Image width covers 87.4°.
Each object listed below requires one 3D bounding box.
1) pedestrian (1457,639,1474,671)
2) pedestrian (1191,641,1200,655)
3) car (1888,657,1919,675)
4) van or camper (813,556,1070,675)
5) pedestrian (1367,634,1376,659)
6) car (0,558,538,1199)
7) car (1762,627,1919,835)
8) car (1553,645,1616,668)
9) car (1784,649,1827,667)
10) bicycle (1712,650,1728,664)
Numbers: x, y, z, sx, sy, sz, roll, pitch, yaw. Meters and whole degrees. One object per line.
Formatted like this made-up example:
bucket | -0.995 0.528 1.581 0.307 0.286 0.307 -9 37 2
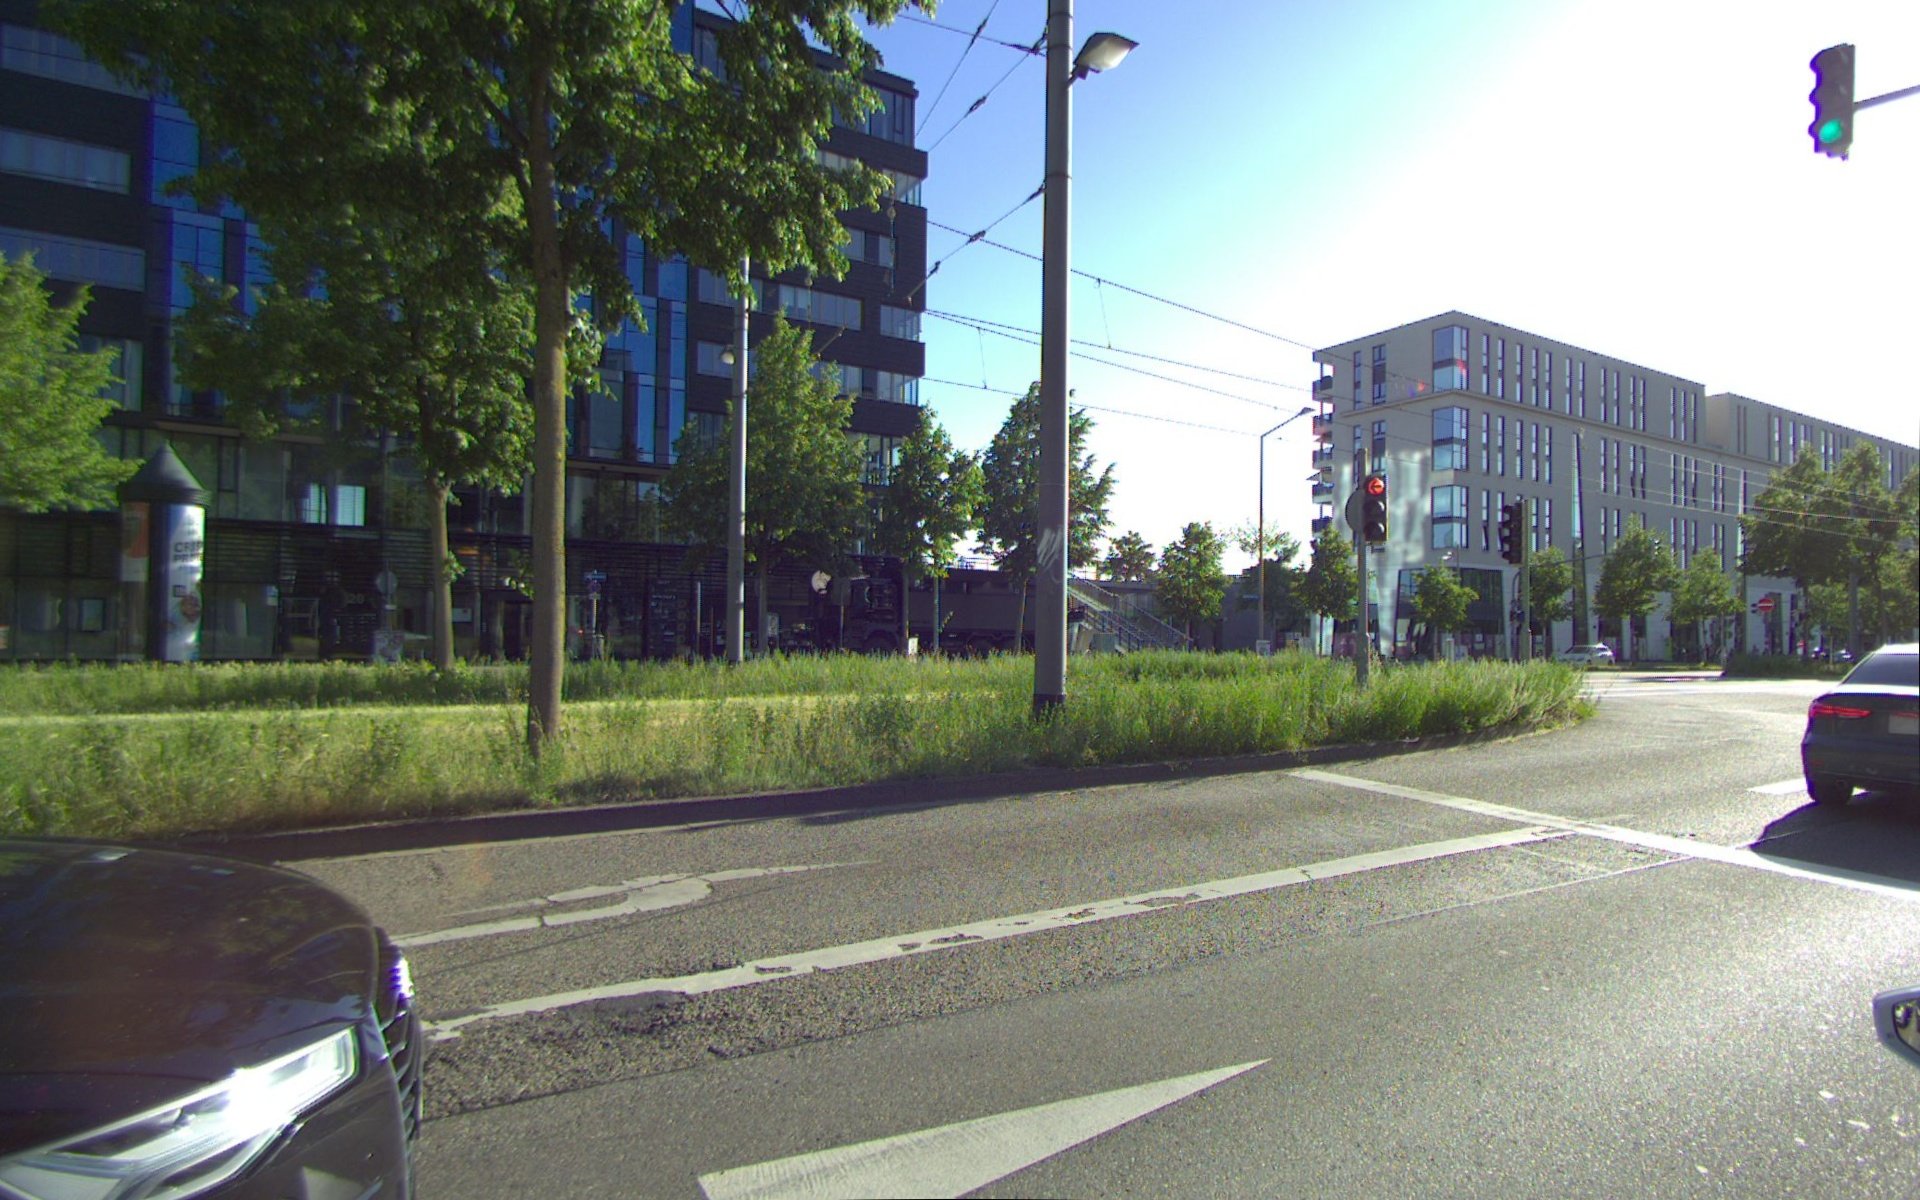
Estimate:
pedestrian | 30.295 3.298 60.213 0.792 1.836 0.575 2 -1 -34
pedestrian | 19.282 3.905 82.213 0.593 1.140 0.437 2 -1 -28
car | 87.988 6.135 93.214 3.763 1.548 1.767 2 -2 -31
van or camper | -0.541 0.732 39.597 10.111 4.247 2.740 2 -2 -31
pedestrian | 30.506 3.448 74.441 0.588 1.794 0.672 1 -1 23
car | -2.996 0.661 1.110 4.456 1.476 1.799 2 -2 -31
car | 8.808 1.038 8.701 4.071 1.547 1.797 2 -2 -34
car | 39.108 3.523 62.873 4.421 1.360 1.572 2 -2 -31
car | 66.989 4.590 79.573 3.670 1.360 1.572 2 -2 -31
bicycle | 62.621 4.715 82.762 1.620 1.125 0.525 2 -1 -33
